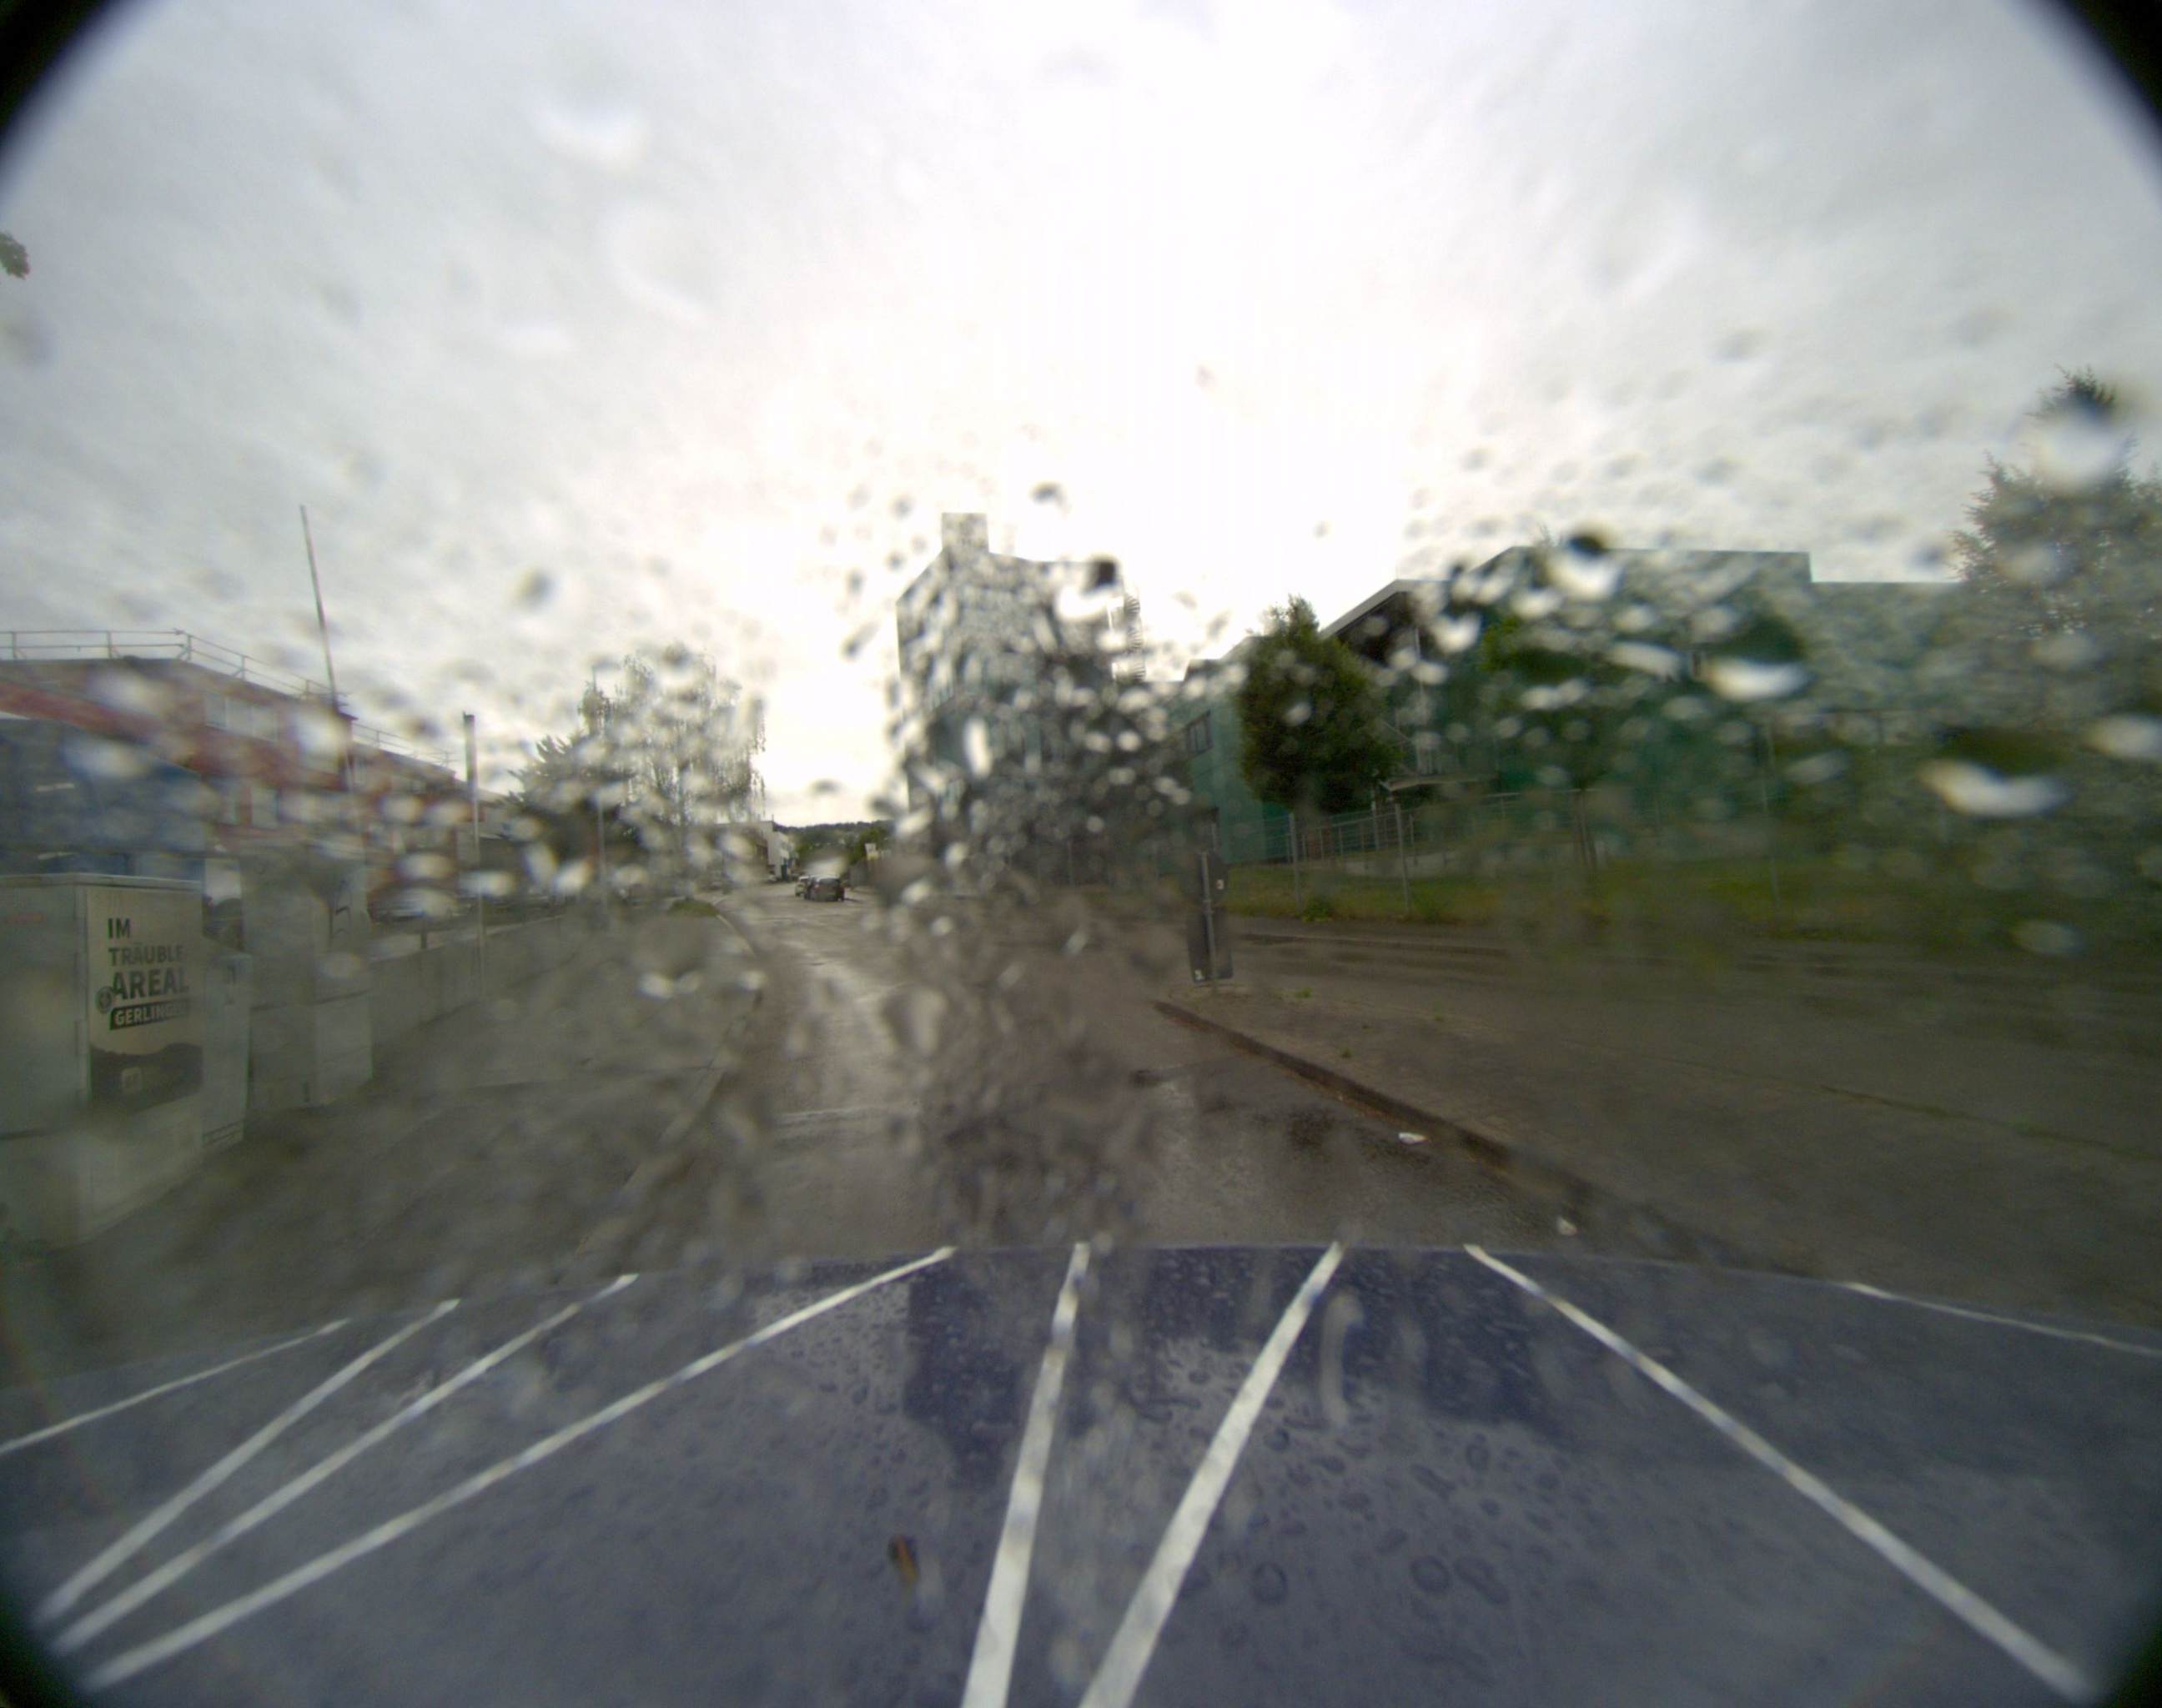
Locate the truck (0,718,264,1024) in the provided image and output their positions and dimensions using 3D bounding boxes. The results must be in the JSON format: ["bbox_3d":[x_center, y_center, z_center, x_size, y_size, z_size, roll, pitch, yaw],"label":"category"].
[{"bbox_3d":[-8.815,0.157,5.215,2.114,2.201,5.643,-3,0,-22],"label":"truck"}]

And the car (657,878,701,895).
[{"bbox_3d":[-42.523,3.461,80.369,3.753,1.531,1.629,-3,0,-15],"label":"car"}]

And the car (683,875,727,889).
[{"bbox_3d":[-47.750,3.595,96.516,4.627,1.488,1.939,-2,0,-13],"label":"car"}]

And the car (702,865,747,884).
[{"bbox_3d":[-49.572,2.864,105.757,5.157,2.280,2.200,-3,0,-11],"label":"car"}]

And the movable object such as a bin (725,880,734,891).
[{"bbox_3d":[-34.855,3.121,75.287,0.737,1.084,0.593,-3,0,-19],"label":"movable object such as a bin"}]

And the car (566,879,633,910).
[{"bbox_3d":[-34.313,2.872,54.194,3.445,1.491,1.617,-11,1,-11],"label":"car"}]

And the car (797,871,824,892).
[{"bbox_3d":[-22.317,2.257,62.602,1.742,1.527,4.242,-3,0,-23],"label":"car"}]

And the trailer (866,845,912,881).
[{"bbox_3d":[-22.768,1.076,90.074,4.688,4.065,2.393,-3,0,25],"label":"trailer"}]

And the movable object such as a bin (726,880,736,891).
[{"bbox_3d":[-35.226,3.167,76.469,0.737,1.084,0.593,-3,0,-19],"label":"movable object such as a bin"}]

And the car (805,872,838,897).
[{"bbox_3d":[-17.923,2.057,52.316,1.639,1.549,4.076,-3,0,-25],"label":"car"}]

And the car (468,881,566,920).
[{"bbox_3d":[-27.979,2.249,37.905,2.002,1.570,4.508,-4,0,-10],"label":"car"}]

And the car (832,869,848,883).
[{"bbox_3d":[-34.560,3.150,108.848,2.002,1.902,3.994,-3,0,-20],"label":"car"}]

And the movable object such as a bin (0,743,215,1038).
[{"bbox_3d":[-6.391,0.226,4.375,1.313,1.491,1.854,-3,0,-32],"label":"movable object such as a bin"}]

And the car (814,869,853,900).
[{"bbox_3d":[-15.543,1.872,47.552,1.747,1.787,3.951,-3,0,-25],"label":"car"}]

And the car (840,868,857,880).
[{"bbox_3d":[-39.441,3.353,128.994,2.000,2.001,3.998,-2,-1,-7],"label":"car"}]
